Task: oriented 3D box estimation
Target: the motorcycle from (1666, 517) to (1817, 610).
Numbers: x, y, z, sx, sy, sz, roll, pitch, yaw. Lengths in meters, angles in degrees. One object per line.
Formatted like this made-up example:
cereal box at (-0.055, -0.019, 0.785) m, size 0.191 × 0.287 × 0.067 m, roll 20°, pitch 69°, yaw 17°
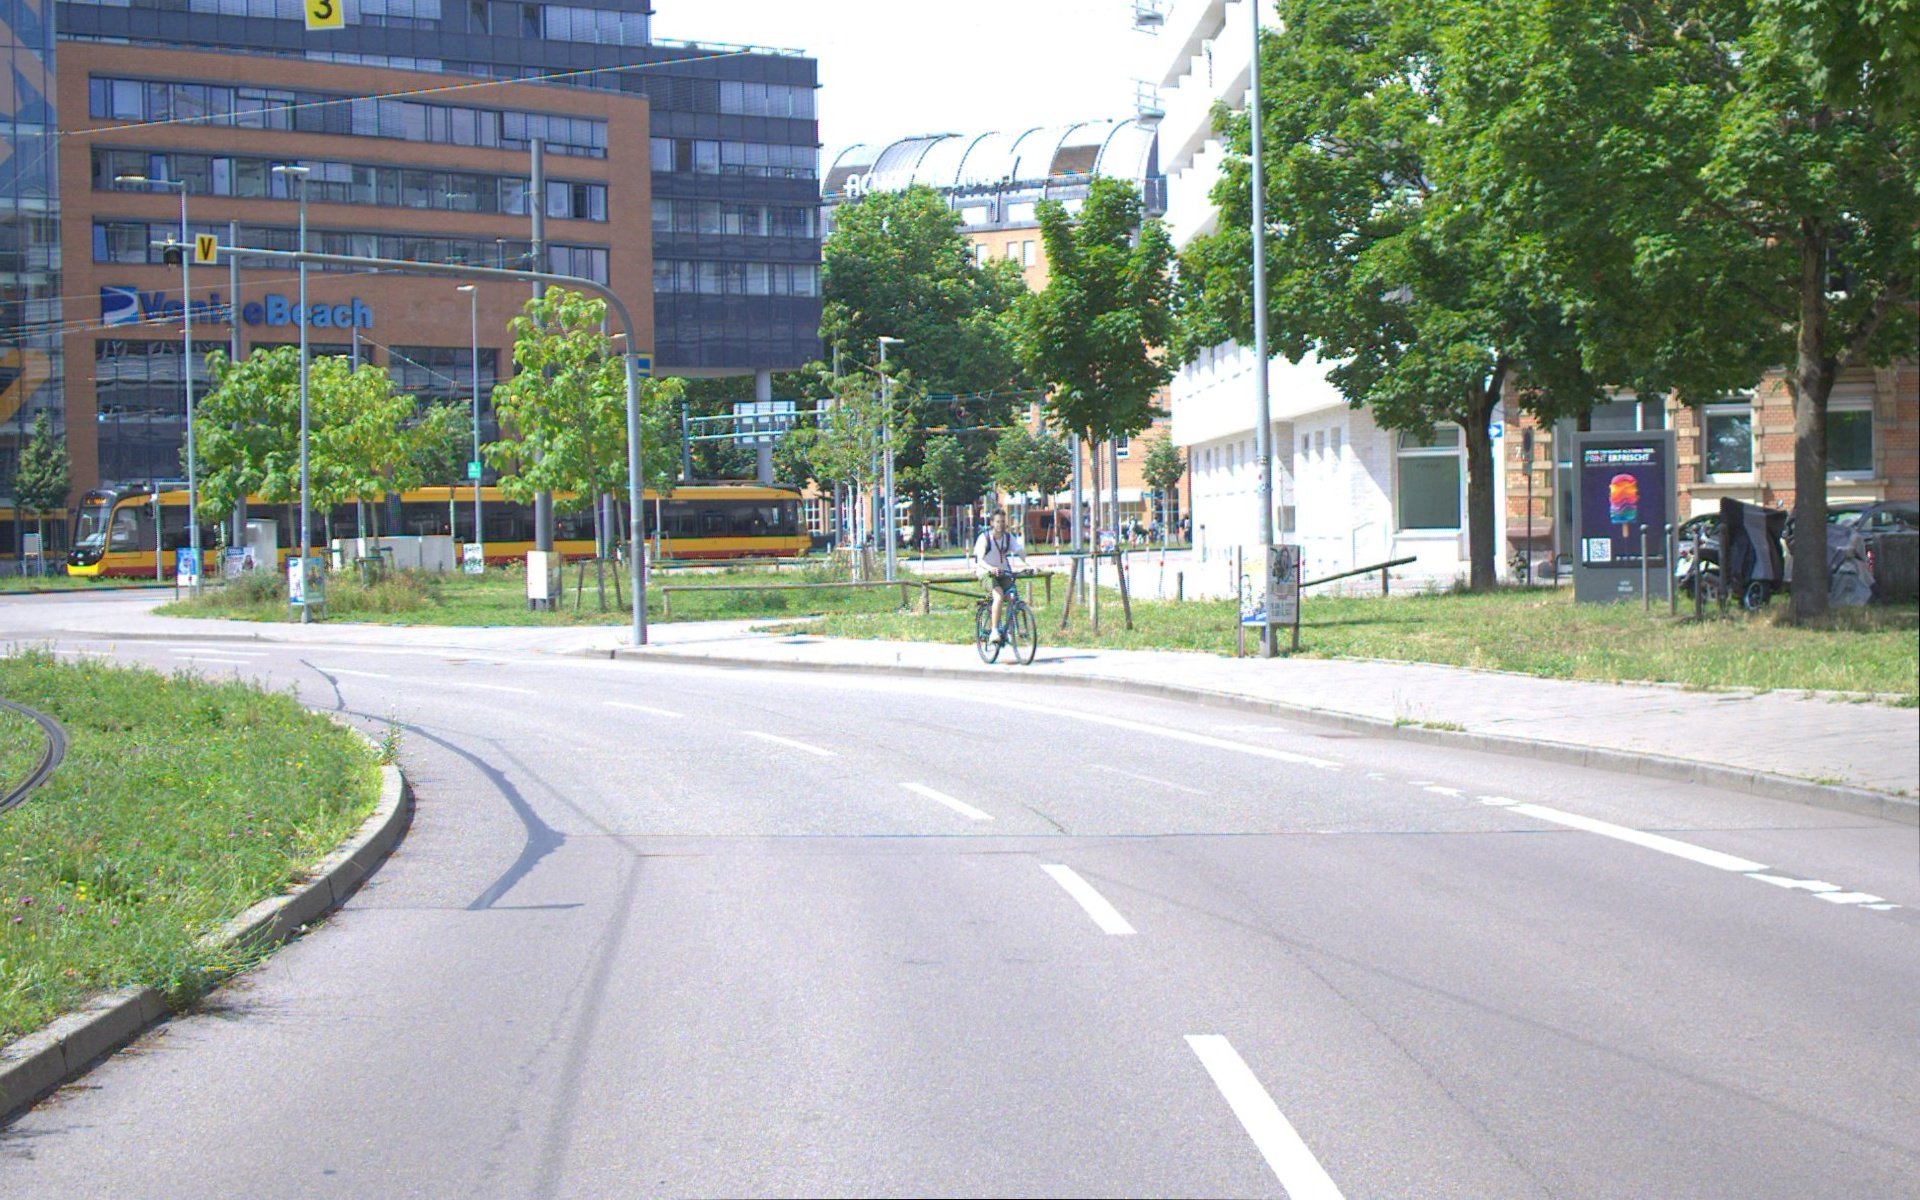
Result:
motorcycle at (10.091, -0.476, 44.406) m, size 1.783 × 1.163 × 0.640 m, roll -1°, pitch 1°, yaw -3°

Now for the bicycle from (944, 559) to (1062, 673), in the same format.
bicycle at (0.491, 0.168, 40.135) m, size 0.693 × 1.238 × 1.840 m, roll -4°, pitch 3°, yaw -20°

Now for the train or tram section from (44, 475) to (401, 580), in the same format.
train or tram section at (-26.363, -2.589, 123.874) m, size 3.223 × 3.587 × 13.470 m, roll 0°, pitch 1°, yaw 39°

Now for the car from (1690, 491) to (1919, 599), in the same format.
car at (12.604, -0.807, 48.854) m, size 4.245 × 1.422 × 1.805 m, roll -2°, pitch 2°, yaw -31°

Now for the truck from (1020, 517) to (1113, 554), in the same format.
truck at (6.128, -3.721, 198.235) m, size 1.995 × 2.078 × 5.520 m, roll -1°, pitch 1°, yaw -43°

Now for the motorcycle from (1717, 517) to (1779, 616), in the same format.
motorcycle at (9.561, -0.416, 41.744) m, size 0.638 × 1.163 × 1.906 m, roll -1°, pitch 1°, yaw 11°

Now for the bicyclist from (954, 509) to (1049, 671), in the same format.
bicyclist at (0.477, -0.126, 40.123) m, size 0.694 × 1.818 × 0.956 m, roll -4°, pitch 2°, yaw -20°

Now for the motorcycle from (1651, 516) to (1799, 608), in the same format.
motorcycle at (10.058, -0.498, 45.219) m, size 1.783 × 1.163 × 0.640 m, roll -1°, pitch 1°, yaw -3°

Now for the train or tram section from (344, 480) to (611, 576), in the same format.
train or tram section at (-18.582, -2.769, 133.268) m, size 3.062 × 3.591 × 10.967 m, roll 0°, pitch 1°, yaw 40°

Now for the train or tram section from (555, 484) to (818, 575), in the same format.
train or tram section at (-11.182, -2.924, 142.373) m, size 3.062 × 3.608 × 12.608 m, roll 0°, pitch 1°, yaw 38°
